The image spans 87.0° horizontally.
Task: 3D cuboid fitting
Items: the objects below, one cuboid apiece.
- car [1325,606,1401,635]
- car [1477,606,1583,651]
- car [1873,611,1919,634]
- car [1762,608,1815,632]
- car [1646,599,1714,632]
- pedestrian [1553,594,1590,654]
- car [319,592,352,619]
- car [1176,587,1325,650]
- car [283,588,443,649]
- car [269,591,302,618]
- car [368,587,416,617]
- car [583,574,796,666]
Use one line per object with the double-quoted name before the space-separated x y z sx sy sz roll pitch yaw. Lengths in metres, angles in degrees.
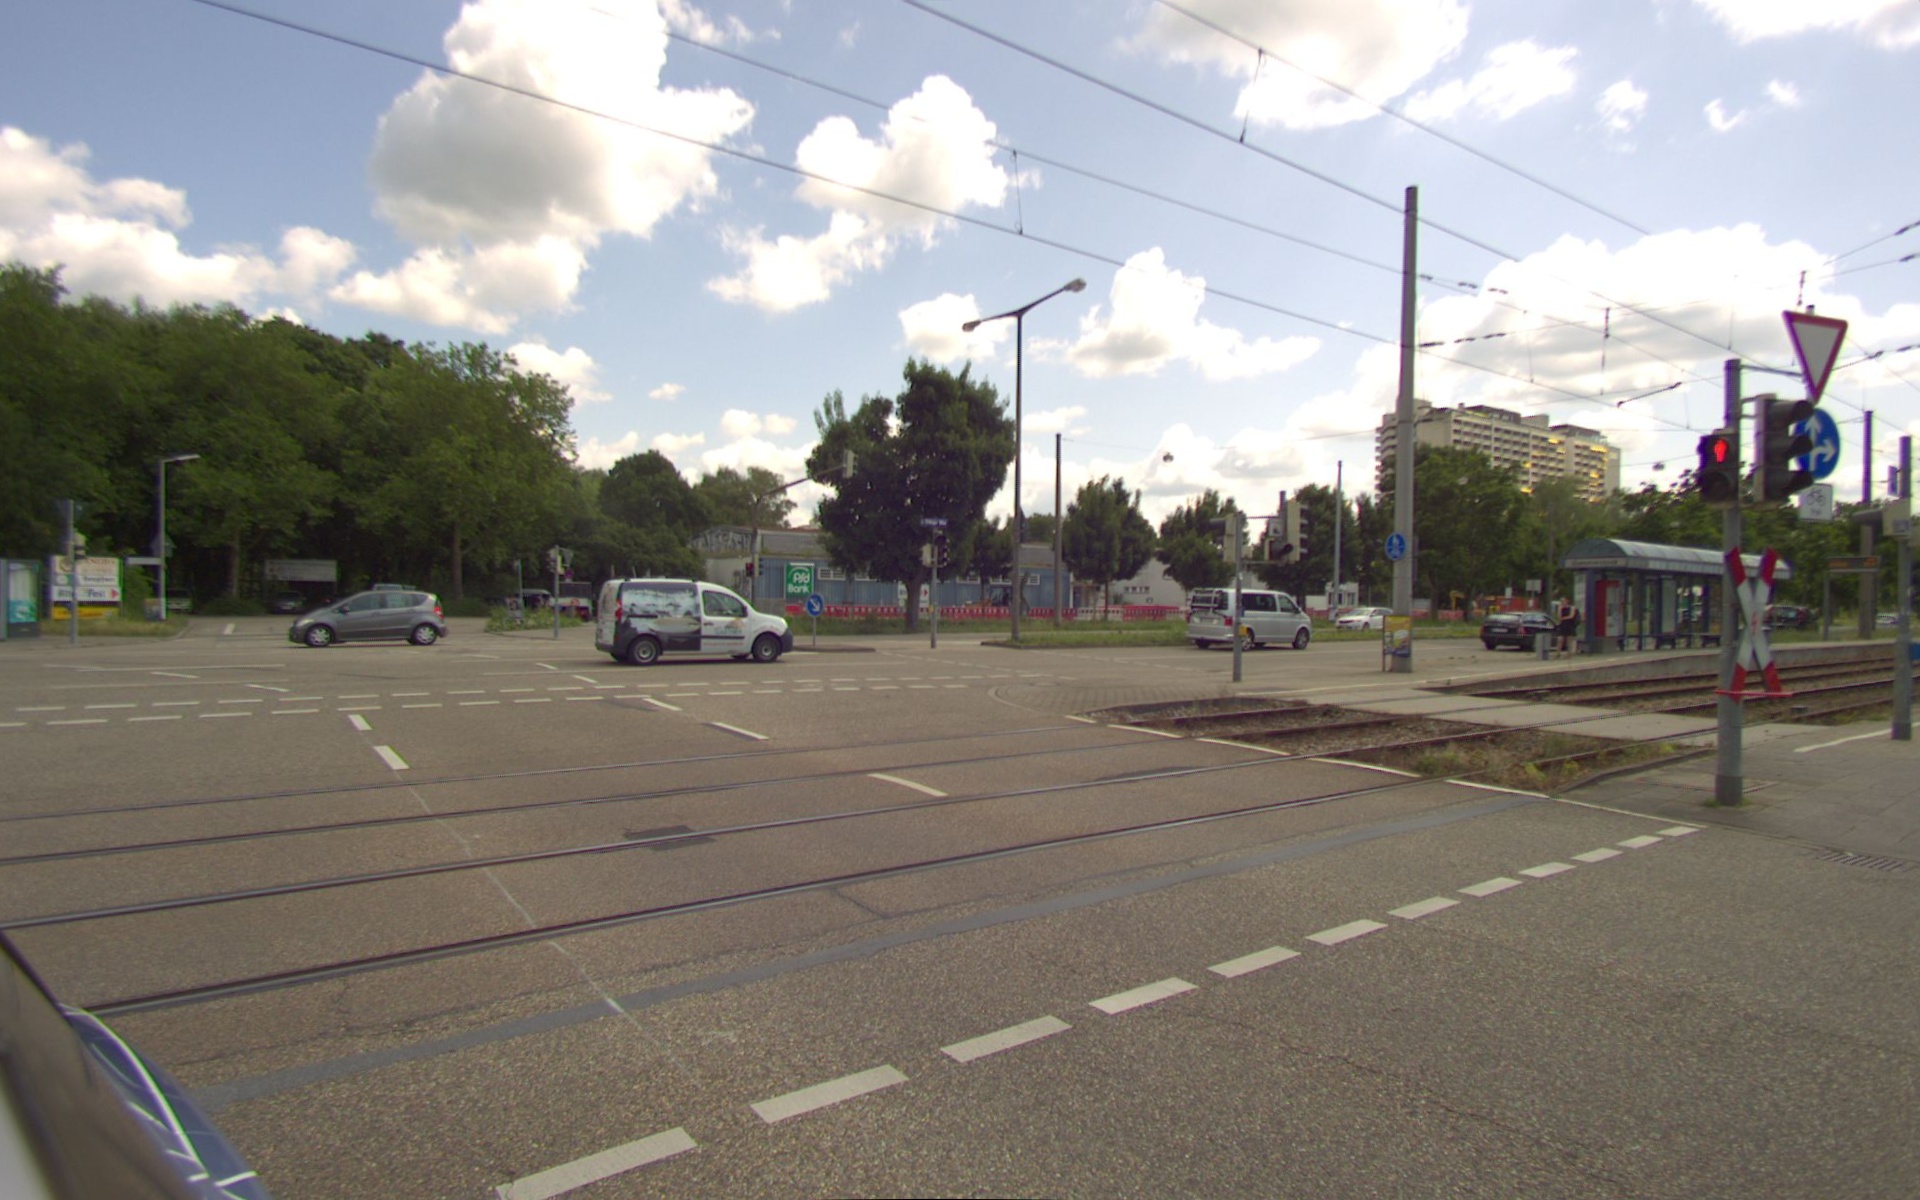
"car" 22.449 1.145 56.293 4.104 1.515 2.005 1 1 -36
"car" 20.884 1.002 37.007 4.361 1.477 1.765 1 2 -37
"car" 68.036 1.603 73.461 4.230 1.537 1.796 1 1 -36
"car" 55.186 1.319 67.376 3.935 1.516 1.874 1 1 -38
"car" 38.582 0.826 54.221 4.270 1.680 1.795 1 1 -38
"pedestrian" 15.690 0.608 25.946 0.707 1.525 0.656 1 0 -44
"car" -38.784 0.325 62.838 1.592 1.519 3.629 1 1 -34
"car" 9.574 0.576 33.144 5.145 1.933 1.824 1 0 -35
"car" -16.717 0.496 28.393 3.710 1.606 1.796 1 0 -36
"car" -40.963 0.263 61.447 1.592 1.519 3.629 1 1 -34
"car" -35.938 0.091 64.094 1.904 1.806 3.631 1 1 -18
"car" -5.787 0.392 21.800 4.086 1.798 1.753 1 1 -33
